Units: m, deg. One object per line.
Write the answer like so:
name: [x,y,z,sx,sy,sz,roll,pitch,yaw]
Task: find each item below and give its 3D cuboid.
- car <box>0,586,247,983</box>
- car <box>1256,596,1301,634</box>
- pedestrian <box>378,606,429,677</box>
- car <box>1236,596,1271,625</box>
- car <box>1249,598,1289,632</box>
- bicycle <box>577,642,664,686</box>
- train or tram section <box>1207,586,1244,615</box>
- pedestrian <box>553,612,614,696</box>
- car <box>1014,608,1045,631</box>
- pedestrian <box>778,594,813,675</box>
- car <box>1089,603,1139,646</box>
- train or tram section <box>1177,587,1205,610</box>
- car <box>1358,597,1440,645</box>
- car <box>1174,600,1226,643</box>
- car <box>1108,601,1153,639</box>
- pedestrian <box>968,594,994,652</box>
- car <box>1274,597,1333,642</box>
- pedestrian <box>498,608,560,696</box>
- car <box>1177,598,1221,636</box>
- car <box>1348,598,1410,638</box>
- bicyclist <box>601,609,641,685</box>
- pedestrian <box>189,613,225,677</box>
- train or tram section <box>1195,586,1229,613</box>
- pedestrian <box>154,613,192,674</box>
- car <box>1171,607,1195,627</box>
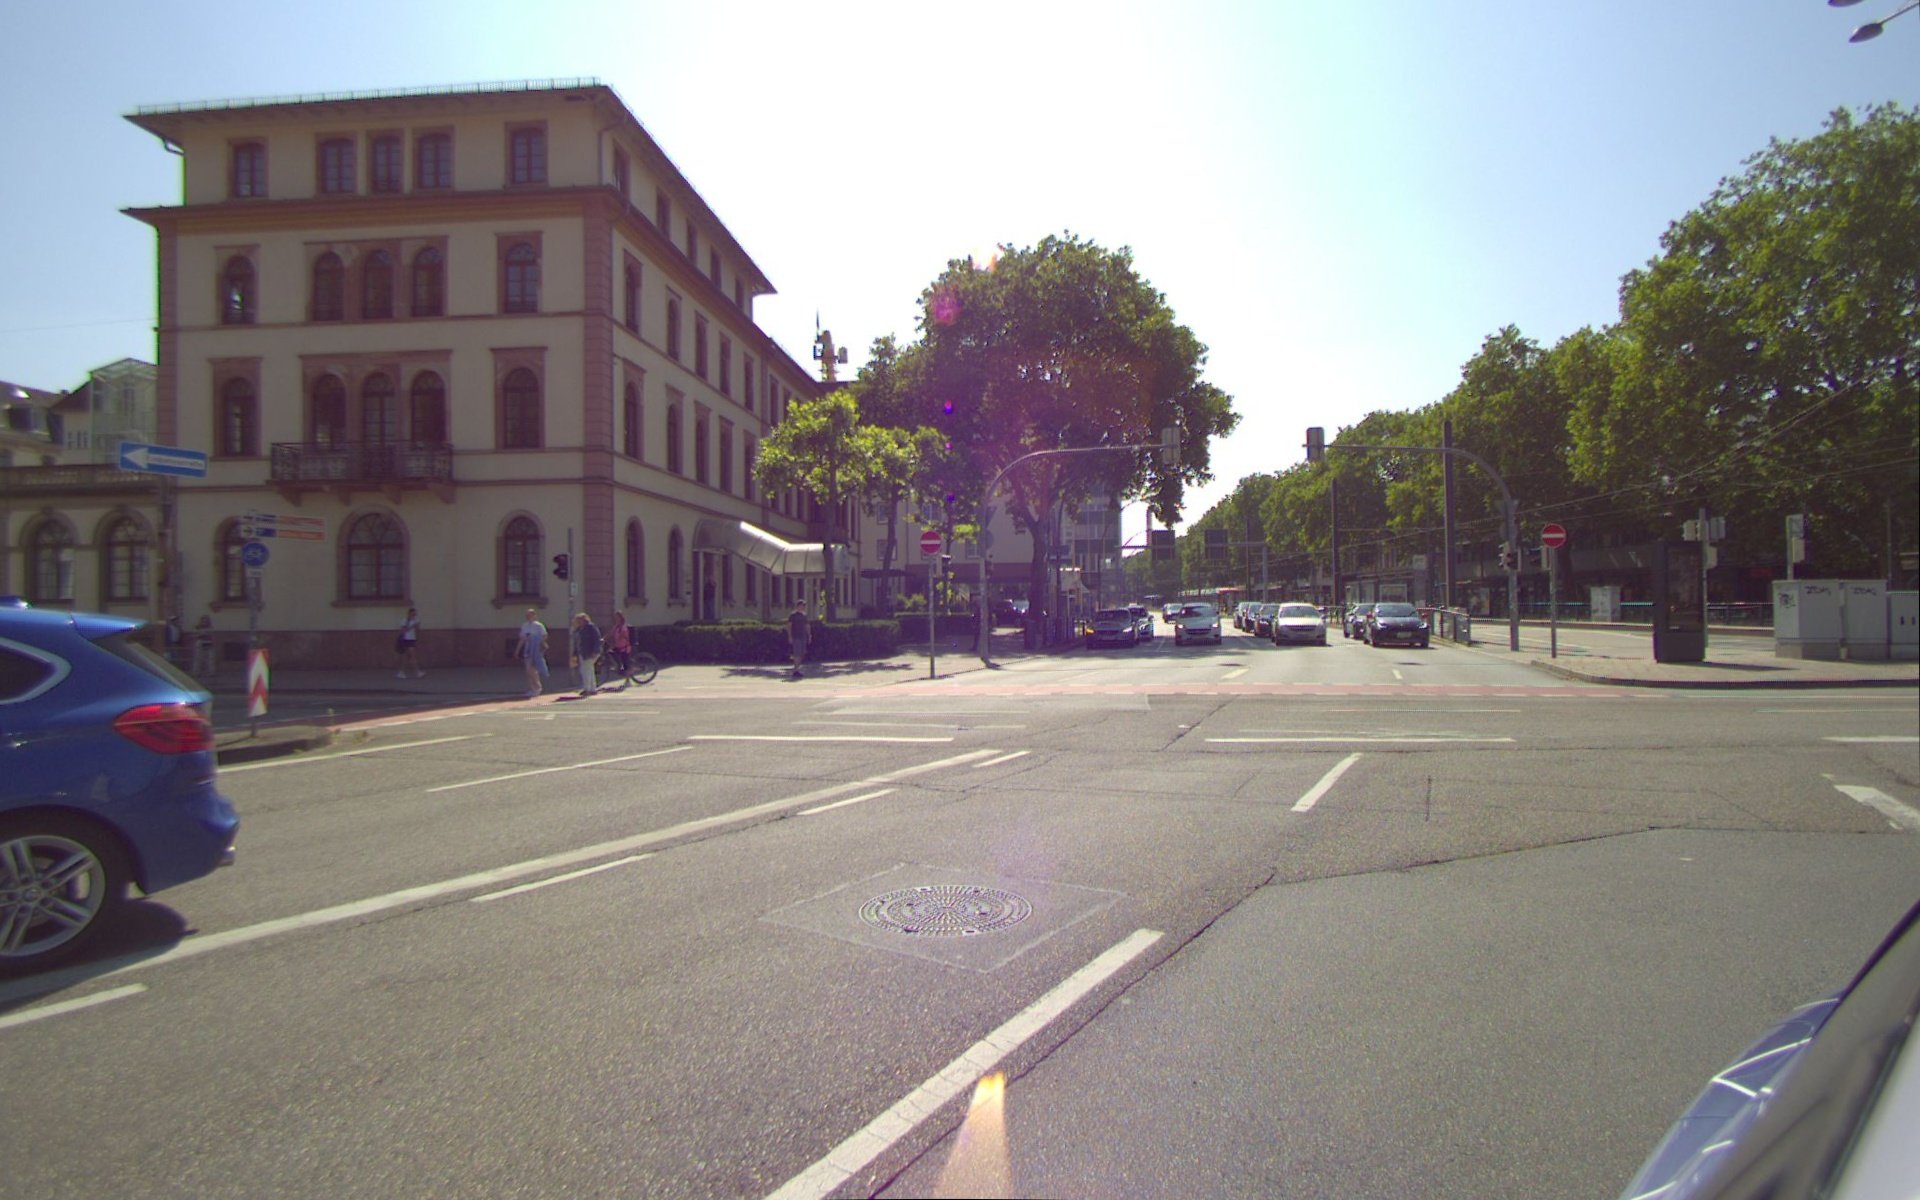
car: [-5.281,0.761,3.623,1.717,1.561,4.206,-3,-1,42]
car: [13.769,0.599,43.742,1.768,1.542,3.951,0,0,18]
pedestrian: [-13.643,1.011,24.834,0.829,1.717,0.744,-1,-1,4]
car: [16.647,0.554,57.267,1.768,1.542,3.951,0,0,18]
car: [15.040,0.679,49.242,1.768,1.542,3.951,0,0,18]
bicycle: [-7.451,1.400,22.256,1.712,0.865,0.593,-1,-1,-37]
train or tram section: [31.910,0.079,122.013,2.686,3.309,8.726,-1,0,4]
pedestrian: [-7.394,1.039,19.884,0.765,1.592,0.822,-1,-1,25]
car: [4.376,1.218,63.432,1.565,1.339,3.569,-1,0,10]
pedestrian: [-3.905,0.810,23.991,0.713,1.869,0.593,-1,-1,-18]
car: [5.780,0.872,37.757,1.763,1.470,3.962,0,0,10]
train or tram section: [33.726,-0.190,148.123,2.686,3.309,8.726,-1,0,4]
car: [14.752,0.658,34.224,1.765,1.470,4.263,0,0,13]
car: [8.968,0.754,38.015,1.764,1.470,3.960,0,0,12]
car: [7.413,0.829,43.694,1.764,1.545,3.960,0,0,12]
pedestrian: [0.668,0.727,32.555,0.715,1.828,0.650,-1,-1,12]
car: [12.241,0.675,36.262,1.695,1.519,4.469,0,-1,15]
pedestrian: [-8.443,1.000,19.834,0.745,1.680,0.823,-1,-1,24]
car: [10.576,0.713,44.588,1.767,1.550,3.955,0,0,15]
car: [16.851,0.686,40.838,1.766,1.536,3.955,0,0,15]
bicyclist: [-7.454,1.027,22.260,0.671,1.627,0.593,0,-1,-36]
pedestrian: [-20.004,1.178,26.883,0.527,1.670,0.578,-1,-1,12]
train or tram section: [32.497,-0.010,130.691,2.686,3.309,8.726,-1,0,4]
pedestrian: [-21.987,1.197,28.279,0.526,1.670,0.672,-1,-1,8]
car: [18.366,1.376,83.204,1.766,1.470,3.956,0,0,14]
